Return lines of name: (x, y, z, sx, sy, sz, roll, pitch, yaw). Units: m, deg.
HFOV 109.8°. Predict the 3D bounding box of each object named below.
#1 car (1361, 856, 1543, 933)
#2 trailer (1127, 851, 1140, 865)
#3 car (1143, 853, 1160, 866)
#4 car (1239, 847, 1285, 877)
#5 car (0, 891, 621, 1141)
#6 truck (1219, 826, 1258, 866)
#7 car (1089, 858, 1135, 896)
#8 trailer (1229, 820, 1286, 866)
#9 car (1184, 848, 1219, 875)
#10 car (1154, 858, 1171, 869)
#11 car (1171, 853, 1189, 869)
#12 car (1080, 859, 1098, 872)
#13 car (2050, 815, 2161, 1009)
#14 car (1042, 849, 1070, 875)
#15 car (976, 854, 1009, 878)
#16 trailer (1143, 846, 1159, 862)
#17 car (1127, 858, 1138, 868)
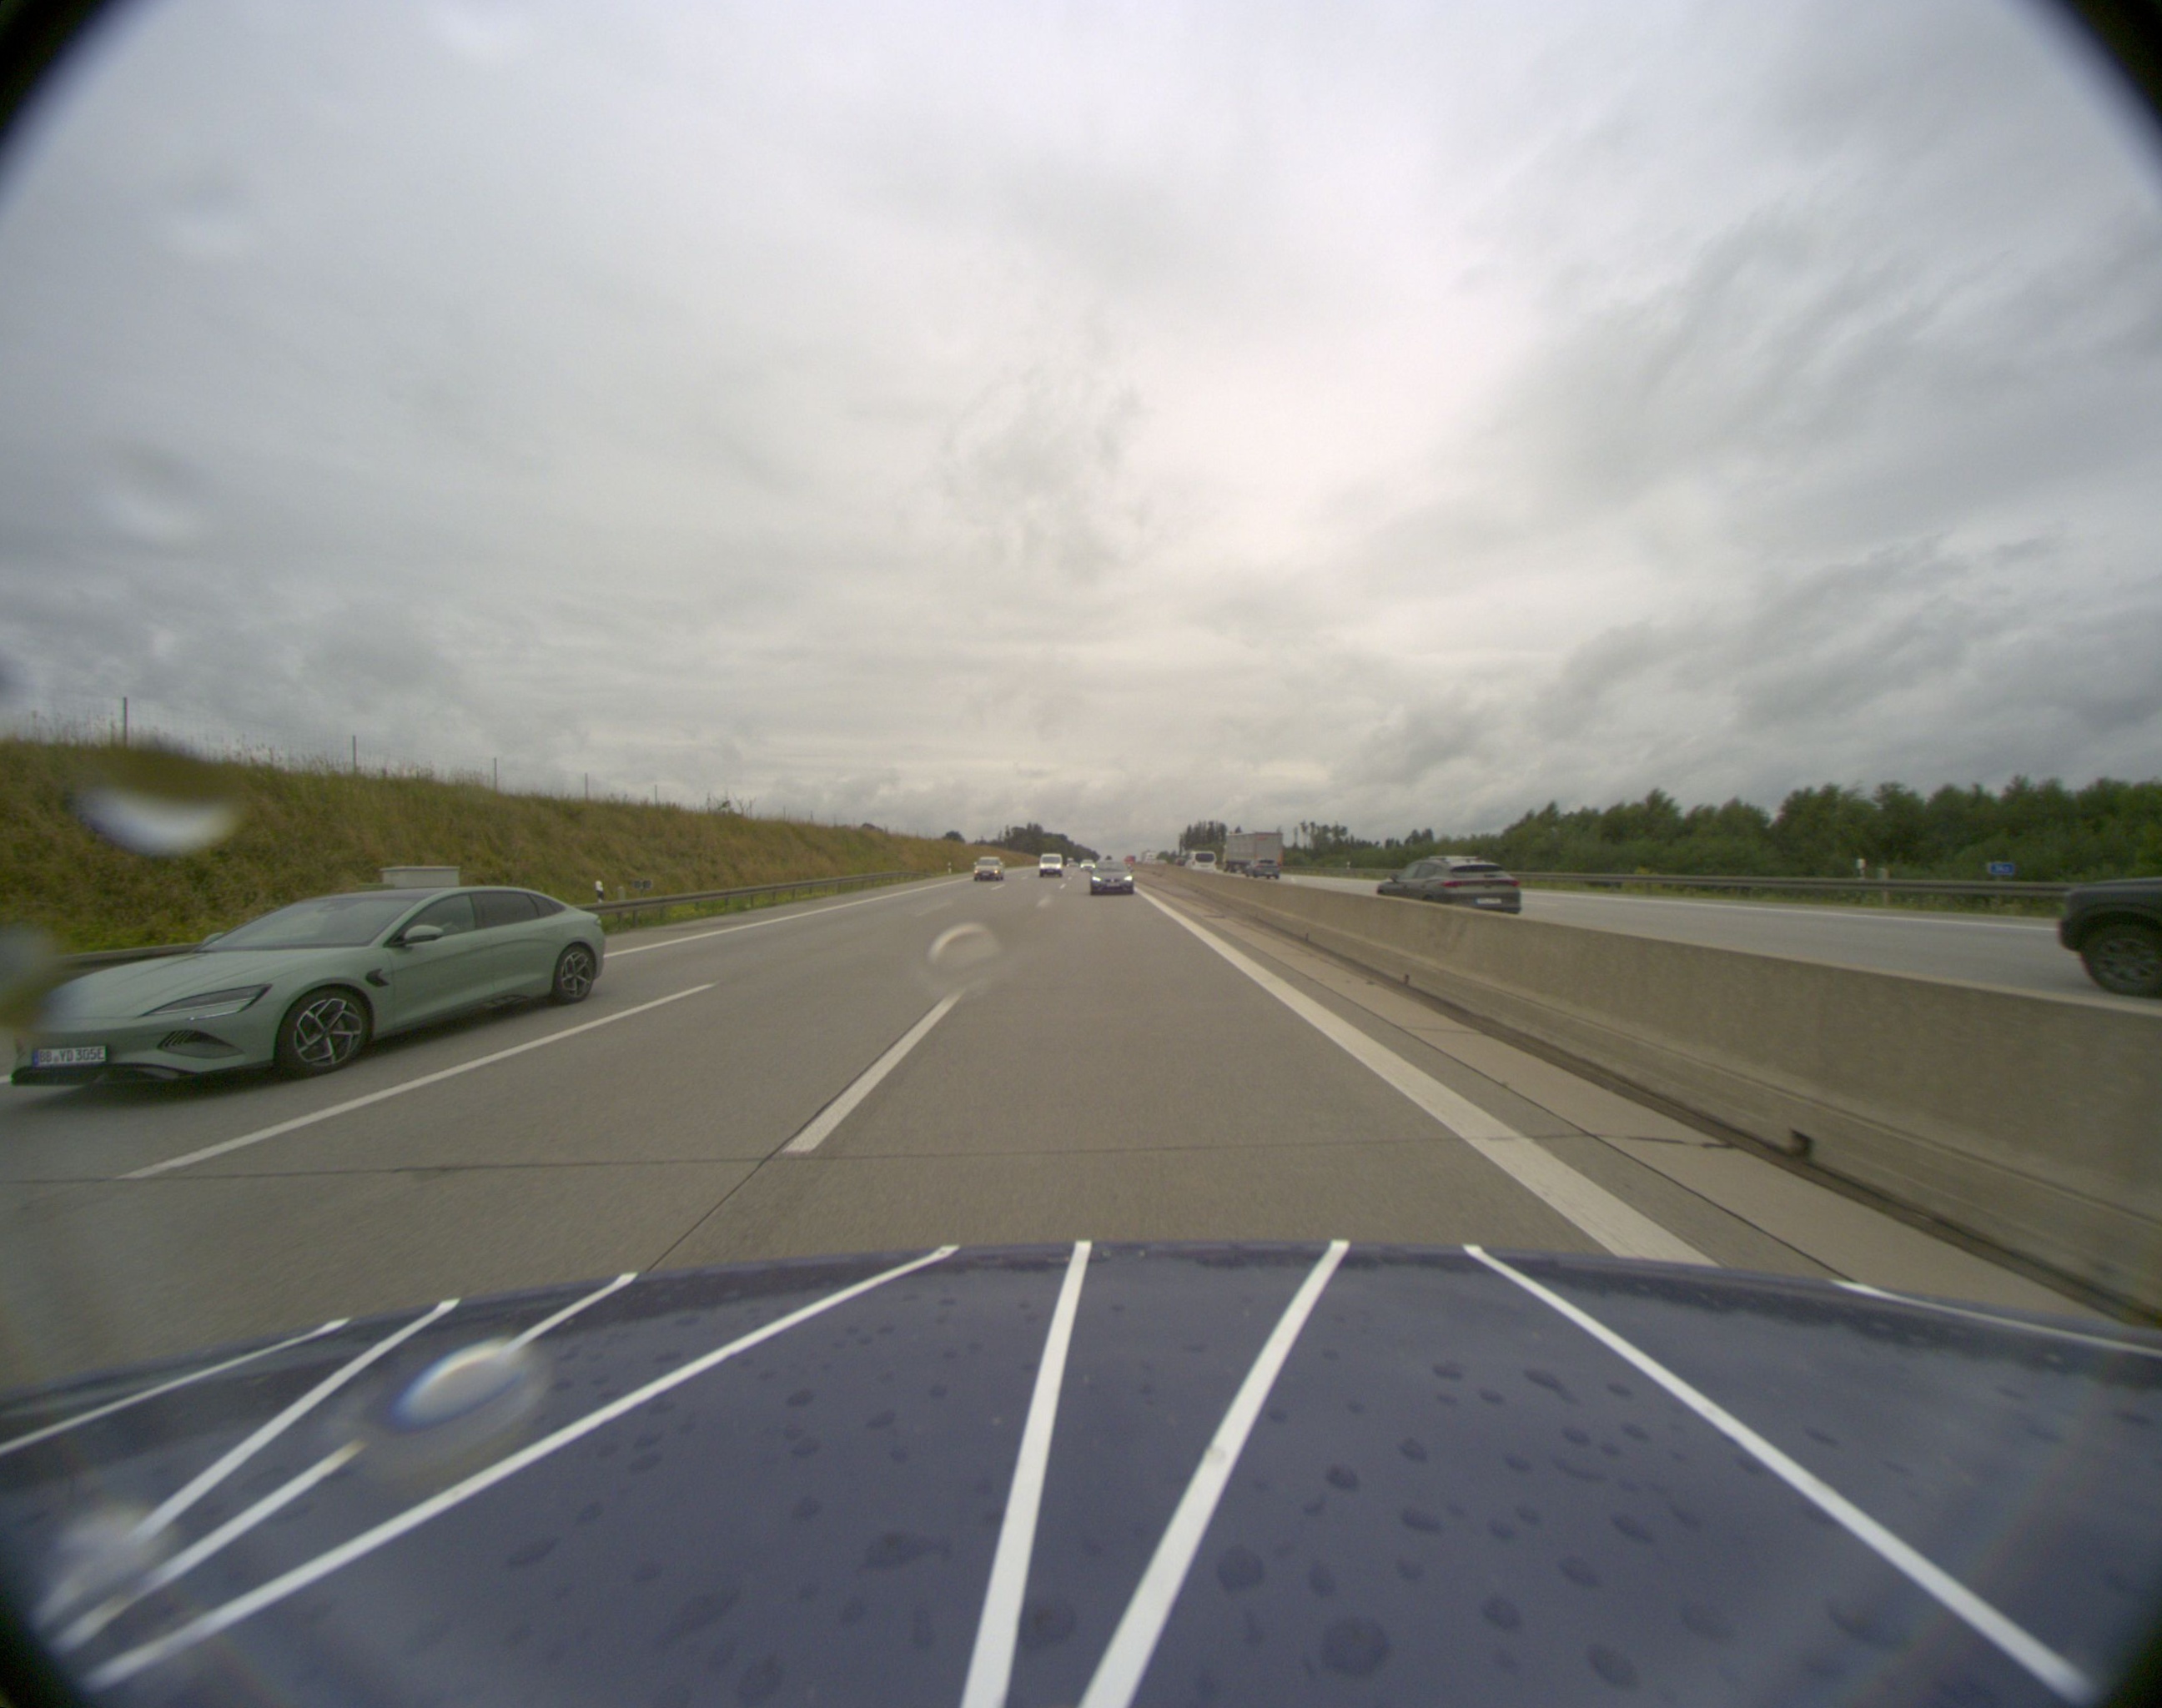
car: (8.239, 0.852, 17.407, 1.998, 1.510, 4.398, 1, -1, 0)
trailer: (18.555, 1.313, 269.615, 3.608, 4.771, 12.909, 1, -1, 0)
car: (9.810, 0.757, 105.980, 2.039, 1.856, 4.604, 1, 0, 0)
car: (12.850, 0.564, 54.245, 1.919, 2.001, 5.925, 1, -1, 1)
car: (-6.971, 1.209, 7.407, 2.019, 1.437, 4.745, -3, -1, 0)
truck: (17.150, -0.753, 82.957, 2.939, 4.155, 5.858, 1, -1, 0)
car: (1.321, 0.950, 32.158, 1.789, 1.471, 4.572, 1, -1, 3)
trailer: (17.138, -0.904, 74.816, 2.926, 4.192, 11.874, 1, -1, 0)
car: (9.596, 0.595, 60.742, 1.919, 2.001, 5.925, 1, -1, 1)
car: (13.351, 1.524, 125.020, 2.040, 1.657, 5.268, 1, 0, -1)
car: (12.908, 0.928, 99.194, 1.649, 2.001, 4.000, 1, -1, -1)
car: (1.071, 1.537, 99.147, 2.031, 1.669, 4.320, 1, -1, 3)
car: (11.926, 0.572, 5.926, 1.998, 1.962, 5.331, 1, -1, 1)
car: (-2.094, 0.686, 64.702, 2.043, 2.111, 6.069, 1, -1, 1)
car: (-6.231, 0.875, 53.793, 1.789, 1.595, 4.571, 1, -1, 0)
trailer: (18.072, 0.015, 197.585, 2.895, 3.979, 13.015, 1, -1, 0)
car: (10.357, 1.838, 152.896, 1.692, 2.001, 4.837, 1, -1, -1)
